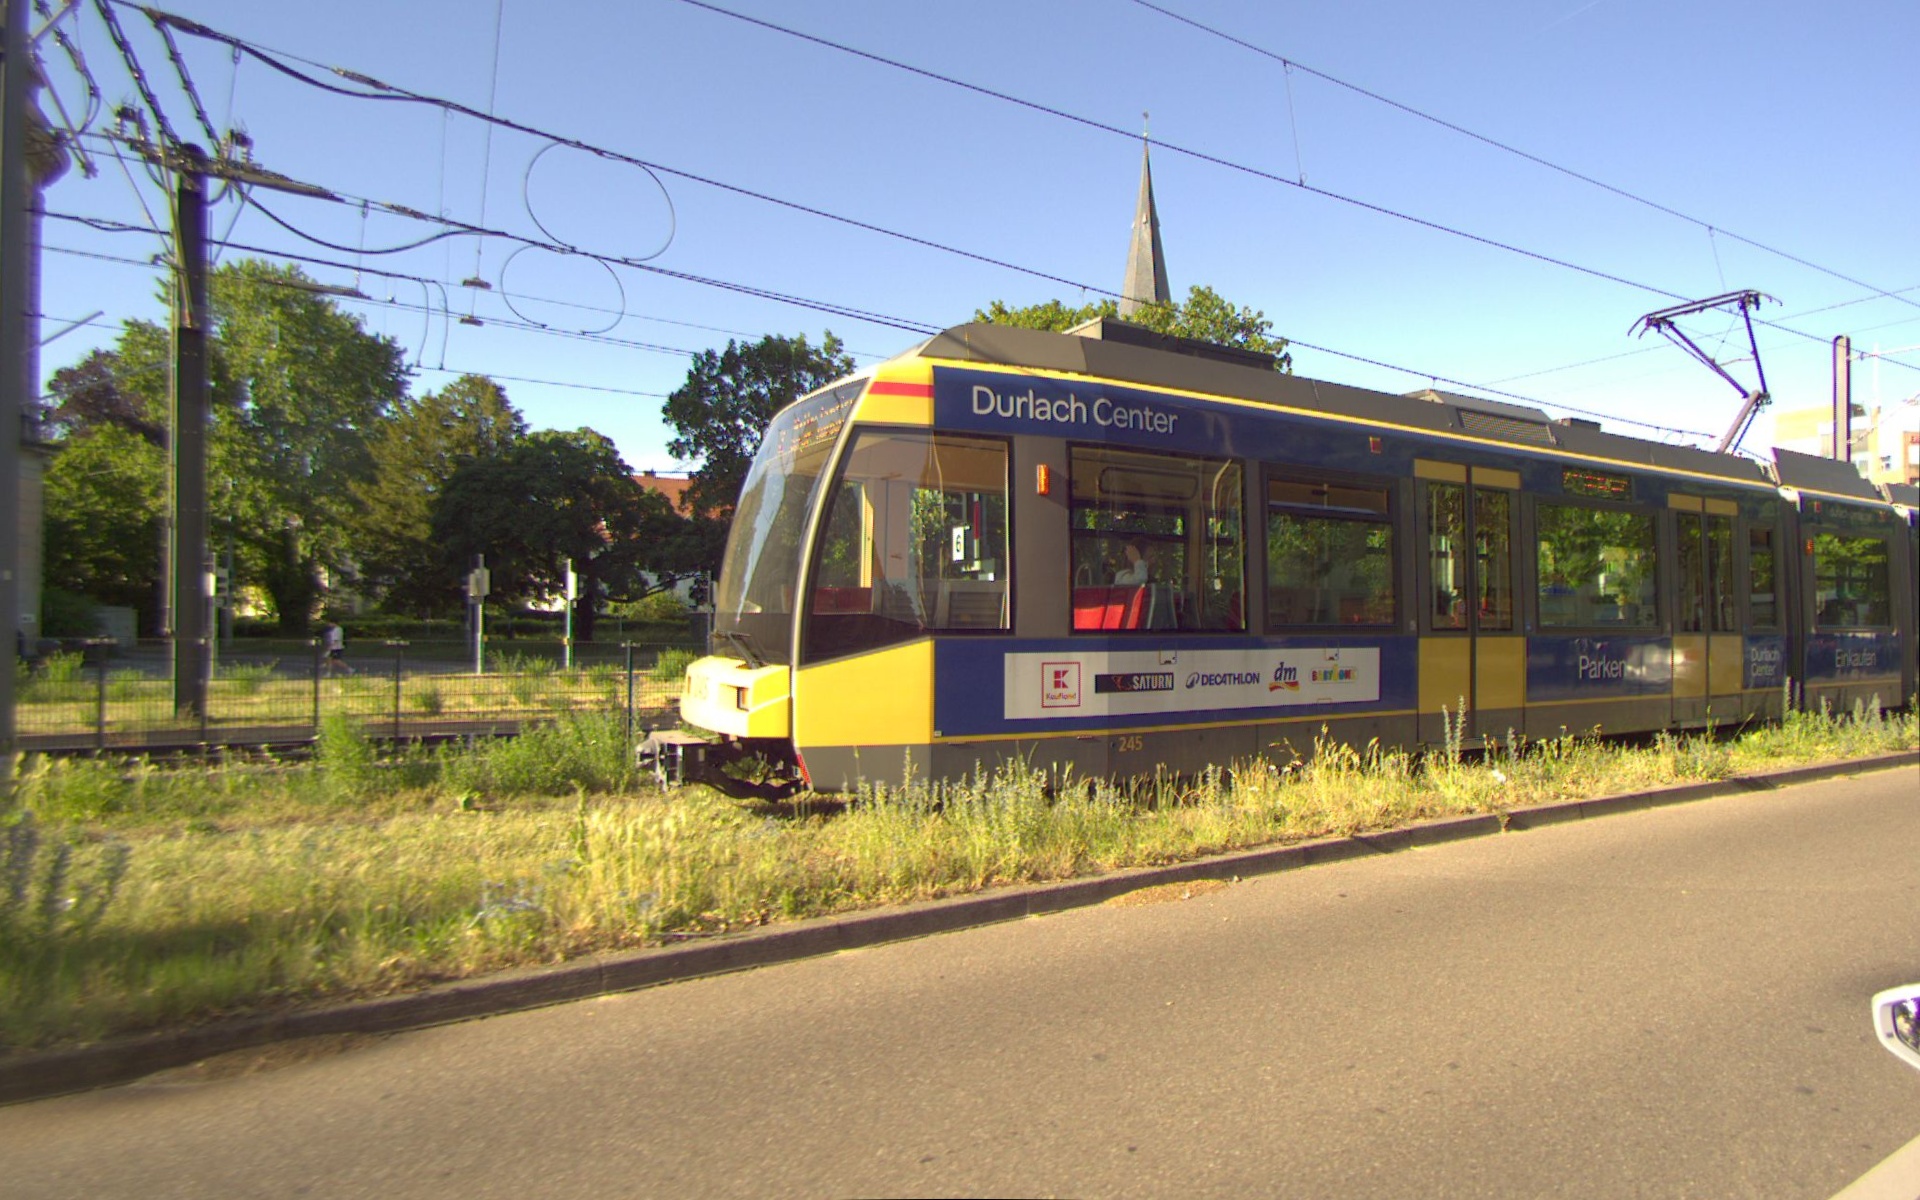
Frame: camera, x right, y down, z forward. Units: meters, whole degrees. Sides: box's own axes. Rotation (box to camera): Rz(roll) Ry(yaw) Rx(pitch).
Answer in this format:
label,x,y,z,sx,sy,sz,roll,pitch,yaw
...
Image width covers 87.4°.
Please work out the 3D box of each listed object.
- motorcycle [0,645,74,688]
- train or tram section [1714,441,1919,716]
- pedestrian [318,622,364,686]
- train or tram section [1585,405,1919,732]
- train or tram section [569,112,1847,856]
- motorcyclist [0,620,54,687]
label,x,y,z,sx,sy,sz,roll,pitch,yaw
motorcycle,-18.171,1.278,19.421,1.503,0.794,0.367,1,0,-28
train or tram section,17.873,-0.229,18.056,10.675,3.949,2.938,1,0,-30
pedestrian,-18.005,1.544,29.202,0.747,1.797,0.921,2,1,38
train or tram section,11.578,-0.363,14.407,3.820,3.949,2.941,1,0,-30
train or tram section,3.834,-0.487,9.968,14.100,3.863,2.915,1,0,-29
motorcyclist,-18.105,1.026,19.457,0.682,1.274,0.512,1,1,-26
